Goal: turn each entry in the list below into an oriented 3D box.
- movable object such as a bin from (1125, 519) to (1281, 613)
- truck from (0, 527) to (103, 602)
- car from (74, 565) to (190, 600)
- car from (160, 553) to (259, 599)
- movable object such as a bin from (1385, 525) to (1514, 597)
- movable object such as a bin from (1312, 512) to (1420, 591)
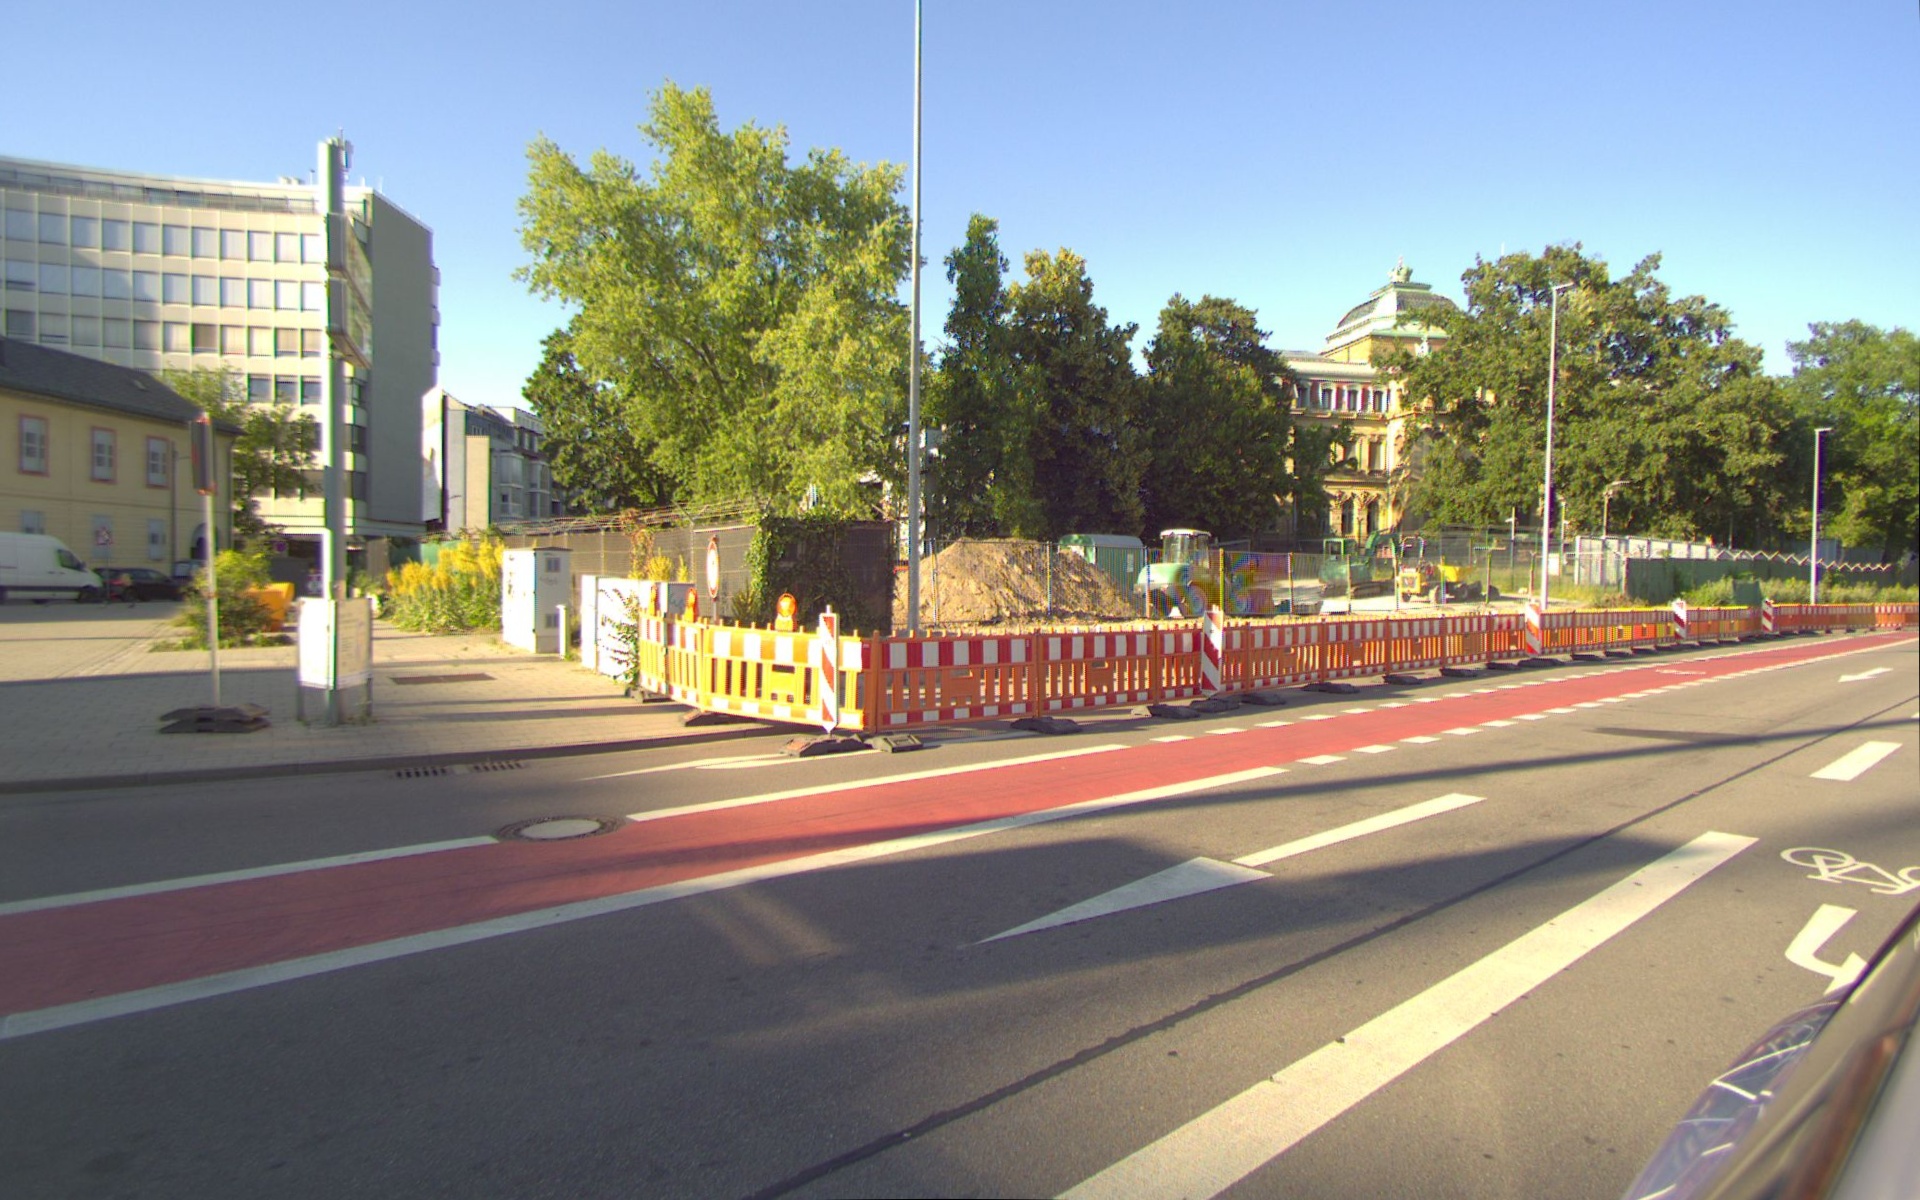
[{"bbox_3d":[7.579,-1.016,31.403,4.920,2.717,1.999,-1,1,-36],"label":"movable object such as a bin"},{"bbox_3d":[-34.173,-1.219,36.179,2.258,2.581,5.638,-1,1,1],"label":"truck"},{"bbox_3d":[-34.195,-0.718,41.940,1.682,1.382,3.761,-1,1,1],"label":"car"},{"bbox_3d":[-34.250,-1.087,46.293,1.682,2.005,3.761,-1,1,1],"label":"car"},{"bbox_3d":[20.569,-1.608,42.458,5.750,2.852,2.002,-1,0,-30],"label":"movable object such as a bin"},{"bbox_3d":[18.301,-2.113,45.476,5.274,3.371,1.999,-1,0,-36],"label":"movable object such as a bin"}]
